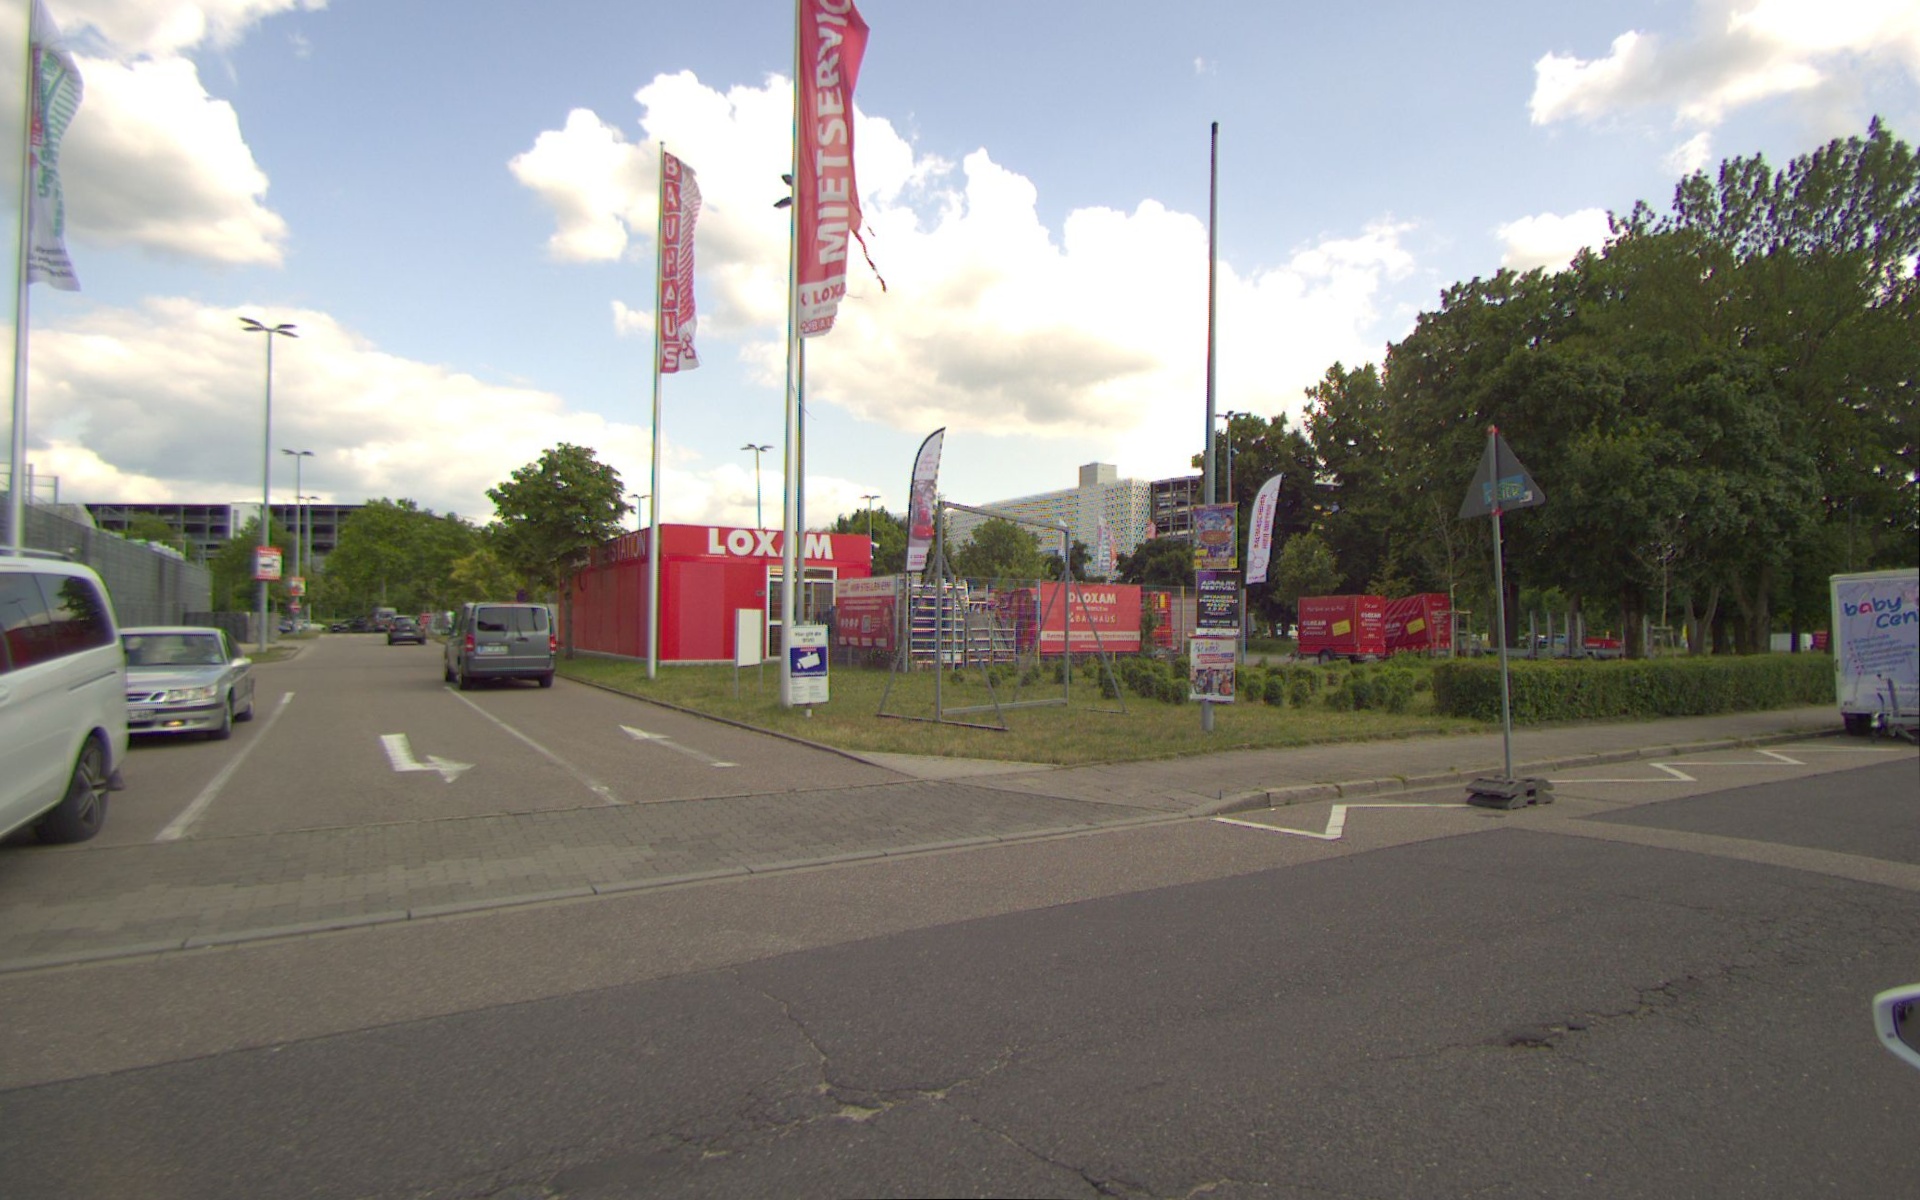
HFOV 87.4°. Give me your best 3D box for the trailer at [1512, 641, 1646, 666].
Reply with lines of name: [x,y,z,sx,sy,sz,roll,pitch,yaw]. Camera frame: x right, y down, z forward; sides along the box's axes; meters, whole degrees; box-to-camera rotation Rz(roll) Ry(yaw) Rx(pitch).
trailer: [26.999,2.310,43.983,2.158,0.925,4.580,1,-1,-26]

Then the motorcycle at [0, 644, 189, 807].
motorcycle: [-7.658,1.020,8.915,0.983,1.229,2.211,1,-2,-30]

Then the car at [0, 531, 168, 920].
car: [-5.883,0.627,4.959,1.965,1.975,4.986,1,-1,-25]

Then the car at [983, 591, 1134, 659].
car: [4.327,1.110,43.467,6.366,2.627,2.255,4,-2,-31]

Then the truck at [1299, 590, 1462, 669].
truck: [15.197,1.066,36.668,1.759,2.627,5.521,3,-2,-30]

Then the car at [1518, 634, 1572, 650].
car: [54.930,3.911,94.375,1.778,1.424,3.994,1,-1,-33]

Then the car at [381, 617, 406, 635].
car: [-52.226,2.386,92.600,1.949,1.650,4.086,1,-1,-30]

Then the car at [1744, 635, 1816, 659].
car: [80.882,4.582,99.187,1.779,2.240,5.253,2,-2,-34]

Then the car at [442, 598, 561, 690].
car: [-10.556,0.951,22.947,2.085,1.869,4.522,1,-1,-30]

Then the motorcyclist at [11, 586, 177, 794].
motorcyclist: [-7.727,0.776,9.015,0.983,1.745,0.671,1,-2,-31]

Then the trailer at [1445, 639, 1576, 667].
trailer: [22.207,2.115,40.663,2.002,0.924,4.210,4,-2,-33]

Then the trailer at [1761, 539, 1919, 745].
trailer: [14.762,0.660,15.603,4.651,2.819,2.129,1,-3,-32]

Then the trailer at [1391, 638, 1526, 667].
trailer: [19.292,2.012,39.022,2.137,0.924,4.210,4,-2,-33]

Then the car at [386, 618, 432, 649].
car: [-30.243,1.828,55.090,1.978,1.632,4.100,1,-1,-32]

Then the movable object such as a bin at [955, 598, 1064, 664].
movable object such as a bin: [1.839,1.140,36.958,3.505,2.305,1.983,1,-1,-31]

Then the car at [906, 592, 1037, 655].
car: [0.548,1.113,46.438,5.659,2.627,2.255,4,-2,-31]

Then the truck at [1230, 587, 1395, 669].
truck: [12.266,0.979,35.434,1.793,2.627,5.730,3,-2,-29]

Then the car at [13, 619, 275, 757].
car: [-10.553,1.008,13.397,1.931,1.473,4.662,1,-1,-30]

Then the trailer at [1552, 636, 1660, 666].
trailer: [29.156,2.265,45.455,1.691,1.206,3.806,1,-1,-25]

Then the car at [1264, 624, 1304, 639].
car: [38.138,3.711,118.235,4.176,1.706,2.001,1,-1,5]

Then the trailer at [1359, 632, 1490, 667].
trailer: [17.330,1.823,37.658,1.654,1.135,4.210,4,-2,-32]

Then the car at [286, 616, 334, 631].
car: [-66.531,2.427,102.822,4.075,1.476,1.858,1,-1,-34]

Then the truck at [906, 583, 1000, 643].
truck: [-0.618,0.970,72.356,2.953,4.000,8.283,3,-2,-30]
